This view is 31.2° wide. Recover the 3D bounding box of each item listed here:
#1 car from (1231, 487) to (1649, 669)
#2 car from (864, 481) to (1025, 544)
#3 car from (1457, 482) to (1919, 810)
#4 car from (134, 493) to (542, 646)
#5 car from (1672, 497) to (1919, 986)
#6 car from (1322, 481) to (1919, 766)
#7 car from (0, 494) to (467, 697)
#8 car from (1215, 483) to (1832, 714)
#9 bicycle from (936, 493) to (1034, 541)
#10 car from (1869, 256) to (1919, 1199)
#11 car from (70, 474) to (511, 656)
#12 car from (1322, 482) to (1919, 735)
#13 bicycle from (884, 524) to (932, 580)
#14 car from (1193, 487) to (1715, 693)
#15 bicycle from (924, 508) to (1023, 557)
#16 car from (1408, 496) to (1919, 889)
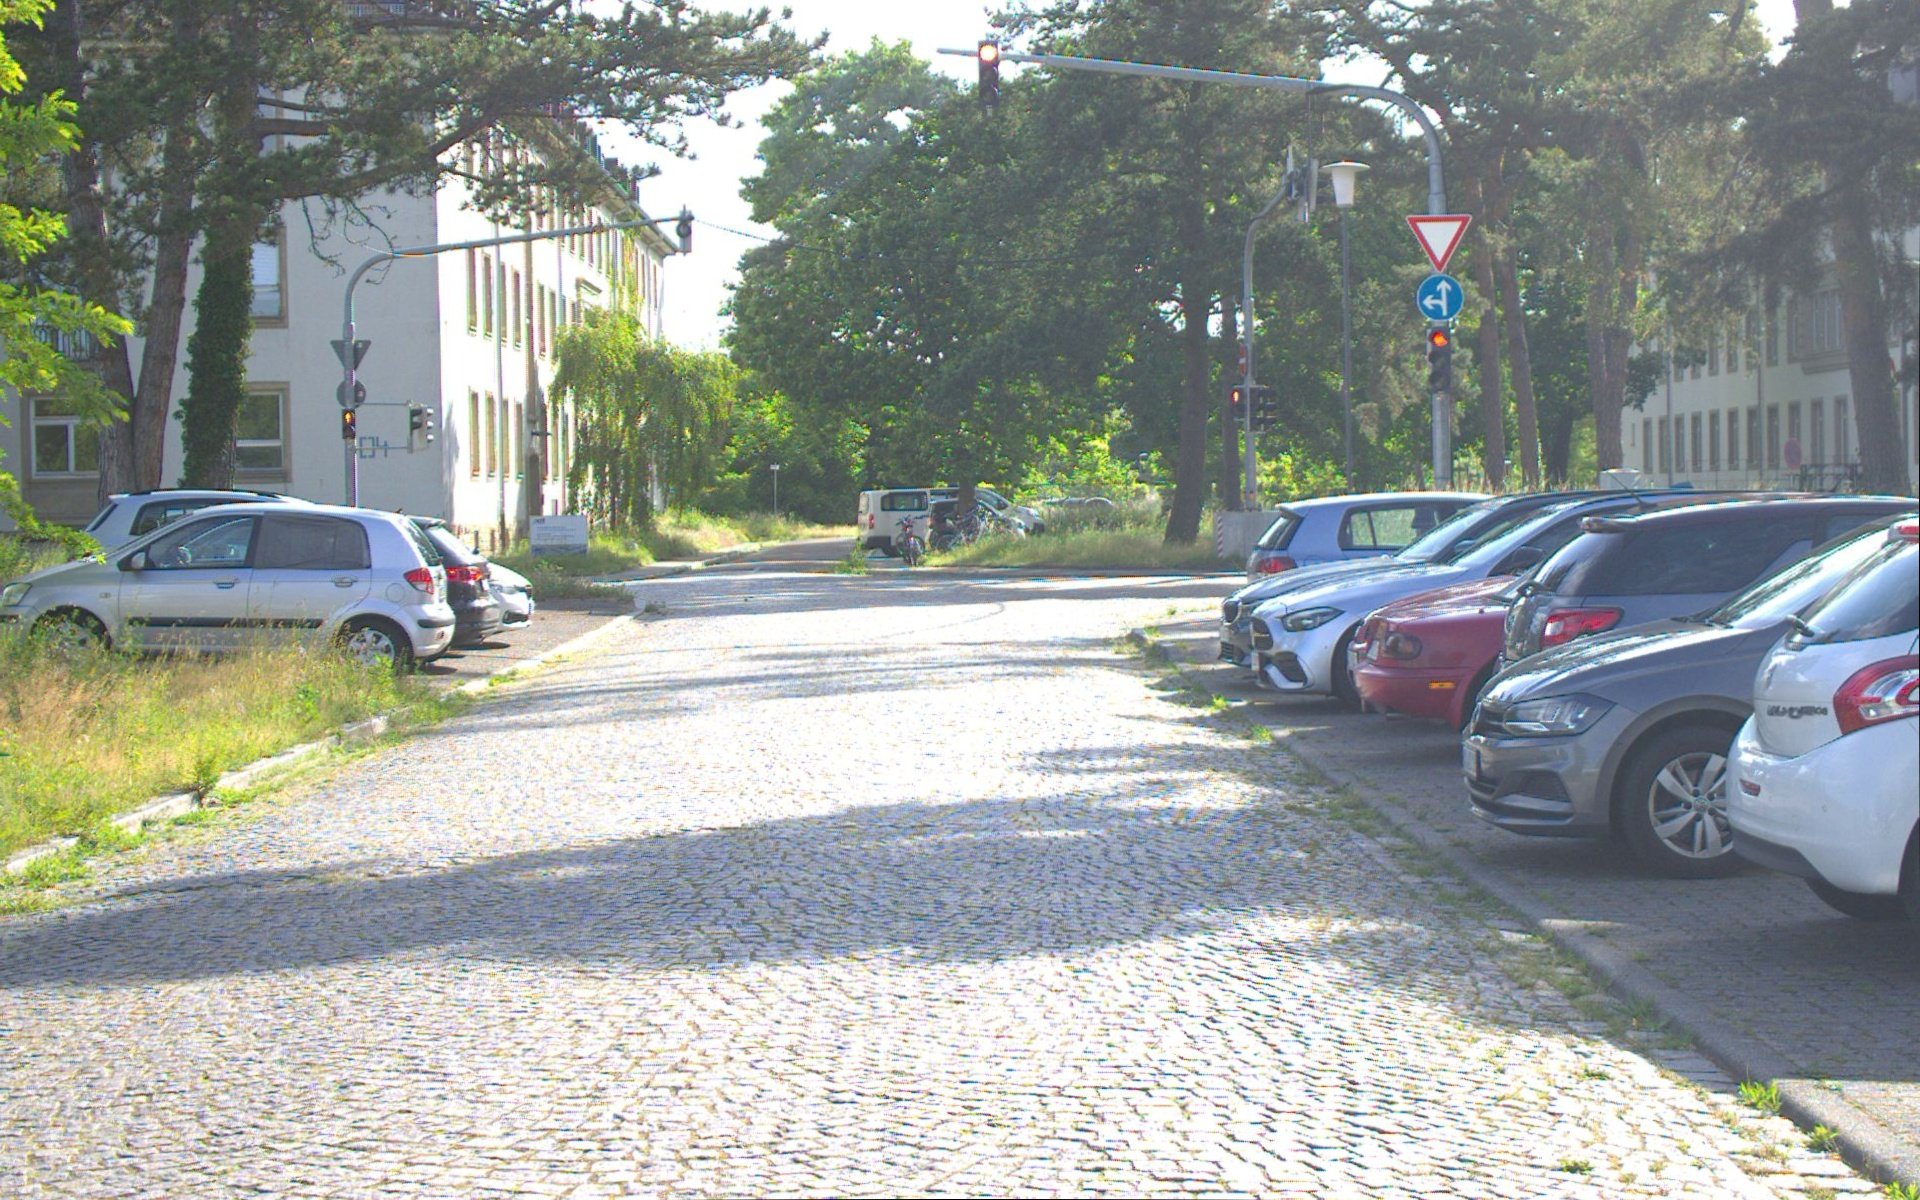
[{"bbox_3d":[4.114,-0.214,29.808,3.343,1.477,1.646,-1,2,-2],"label":"car"},{"bbox_3d":[-0.446,-2.448,96.227,4.480,1.722,2.000,0,2,-1],"label":"car"},{"bbox_3d":[4.366,0.183,17.171,3.478,1.524,1.646,-1,2,-2],"label":"car"},{"bbox_3d":[-6.590,-0.346,36.776,3.987,1.448,2.000,2,2,-1],"label":"car"},{"bbox_3d":[4.397,0.348,11.366,3.694,1.460,1.645,-3,2,0],"label":"car"},{"bbox_3d":[3.947,0.102,19.860,3.478,1.524,1.646,-1,2,-2],"label":"car"},{"bbox_3d":[-6.269,-0.064,28.991,3.986,1.595,2.000,-1,2,-3],"label":"car"},{"bbox_3d":[3.939,-0.041,24.398,4.033,1.524,1.646,-1,2,-4],"label":"car"},{"bbox_3d":[0.575,-1.931,79.820,2.172,1.096,0.807,0,2,-10],"label":"bicycle"},{"bbox_3d":[4.271,0.314,6.164,4.676,2.006,2.084,-1,2,-3],"label":"car"},{"bbox_3d":[-6.628,-0.372,34.373,3.987,1.596,2.000,3,2,-1],"label":"car"},{"bbox_3d":[4.258,0.024,22.217,3.602,1.524,1.646,-1,2,-2],"label":"car"},{"bbox_3d":[-1.145,-1.065,75.319,0.804,1.165,2.181,-3,2,-6],"label":"bicycle"},{"bbox_3d":[3.848,-0.104,27.169,3.835,1.524,1.646,-1,2,-2],"label":"car"},{"bbox_3d":[0.305,-1.556,78.774,2.172,1.096,0.807,0,2,-10],"label":"bicycle"},{"bbox_3d":[3.839,0.312,14.251,3.675,1.462,1.646,-2,2,-2],"label":"car"}]
